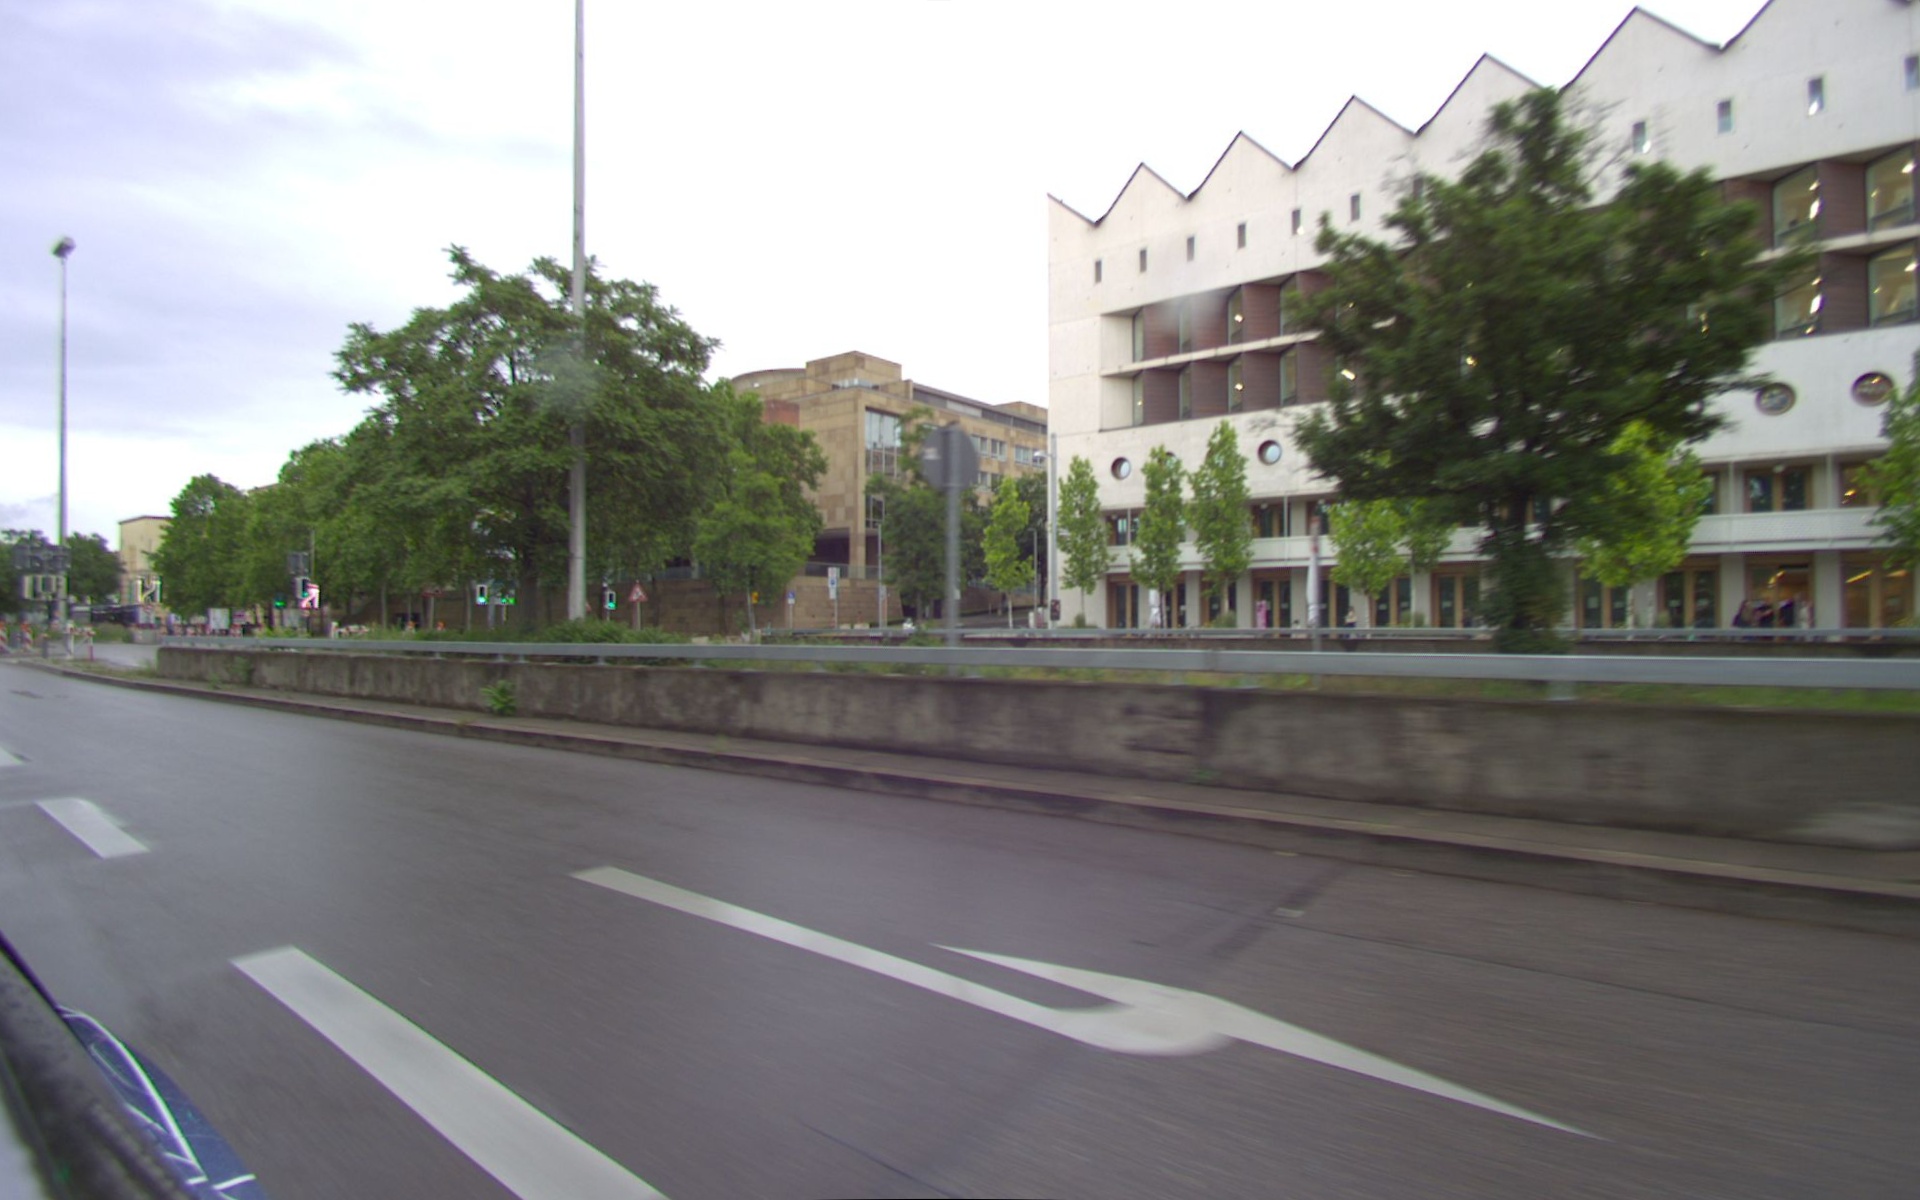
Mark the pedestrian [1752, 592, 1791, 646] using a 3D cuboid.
[{"bbox_3d":[28.580,0.660,35.642,0.729,1.873,0.703,-2,-1,-8],"label":"pedestrian"}]

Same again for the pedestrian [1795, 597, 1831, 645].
[{"bbox_3d":[29.593,0.726,35.110,0.728,1.639,0.704,-1,-1,-31],"label":"pedestrian"}]

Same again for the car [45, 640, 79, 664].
[{"bbox_3d":[-92.067,5.277,103.745,4.223,2.316,1.974,-2,-1,39],"label":"car"}]

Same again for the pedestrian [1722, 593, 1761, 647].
[{"bbox_3d":[27.642,0.691,35.806,0.729,1.873,0.703,-2,-1,-8],"label":"pedestrian"}]

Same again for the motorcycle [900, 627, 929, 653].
[{"bbox_3d":[-2.219,1.953,49.488,0.603,1.191,1.800,-2,-1,26],"label":"motorcycle"}]

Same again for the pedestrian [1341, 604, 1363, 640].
[{"bbox_3d":[17.330,0.976,44.746,0.651,1.526,0.671,-2,-1,44],"label":"pedestrian"}]
